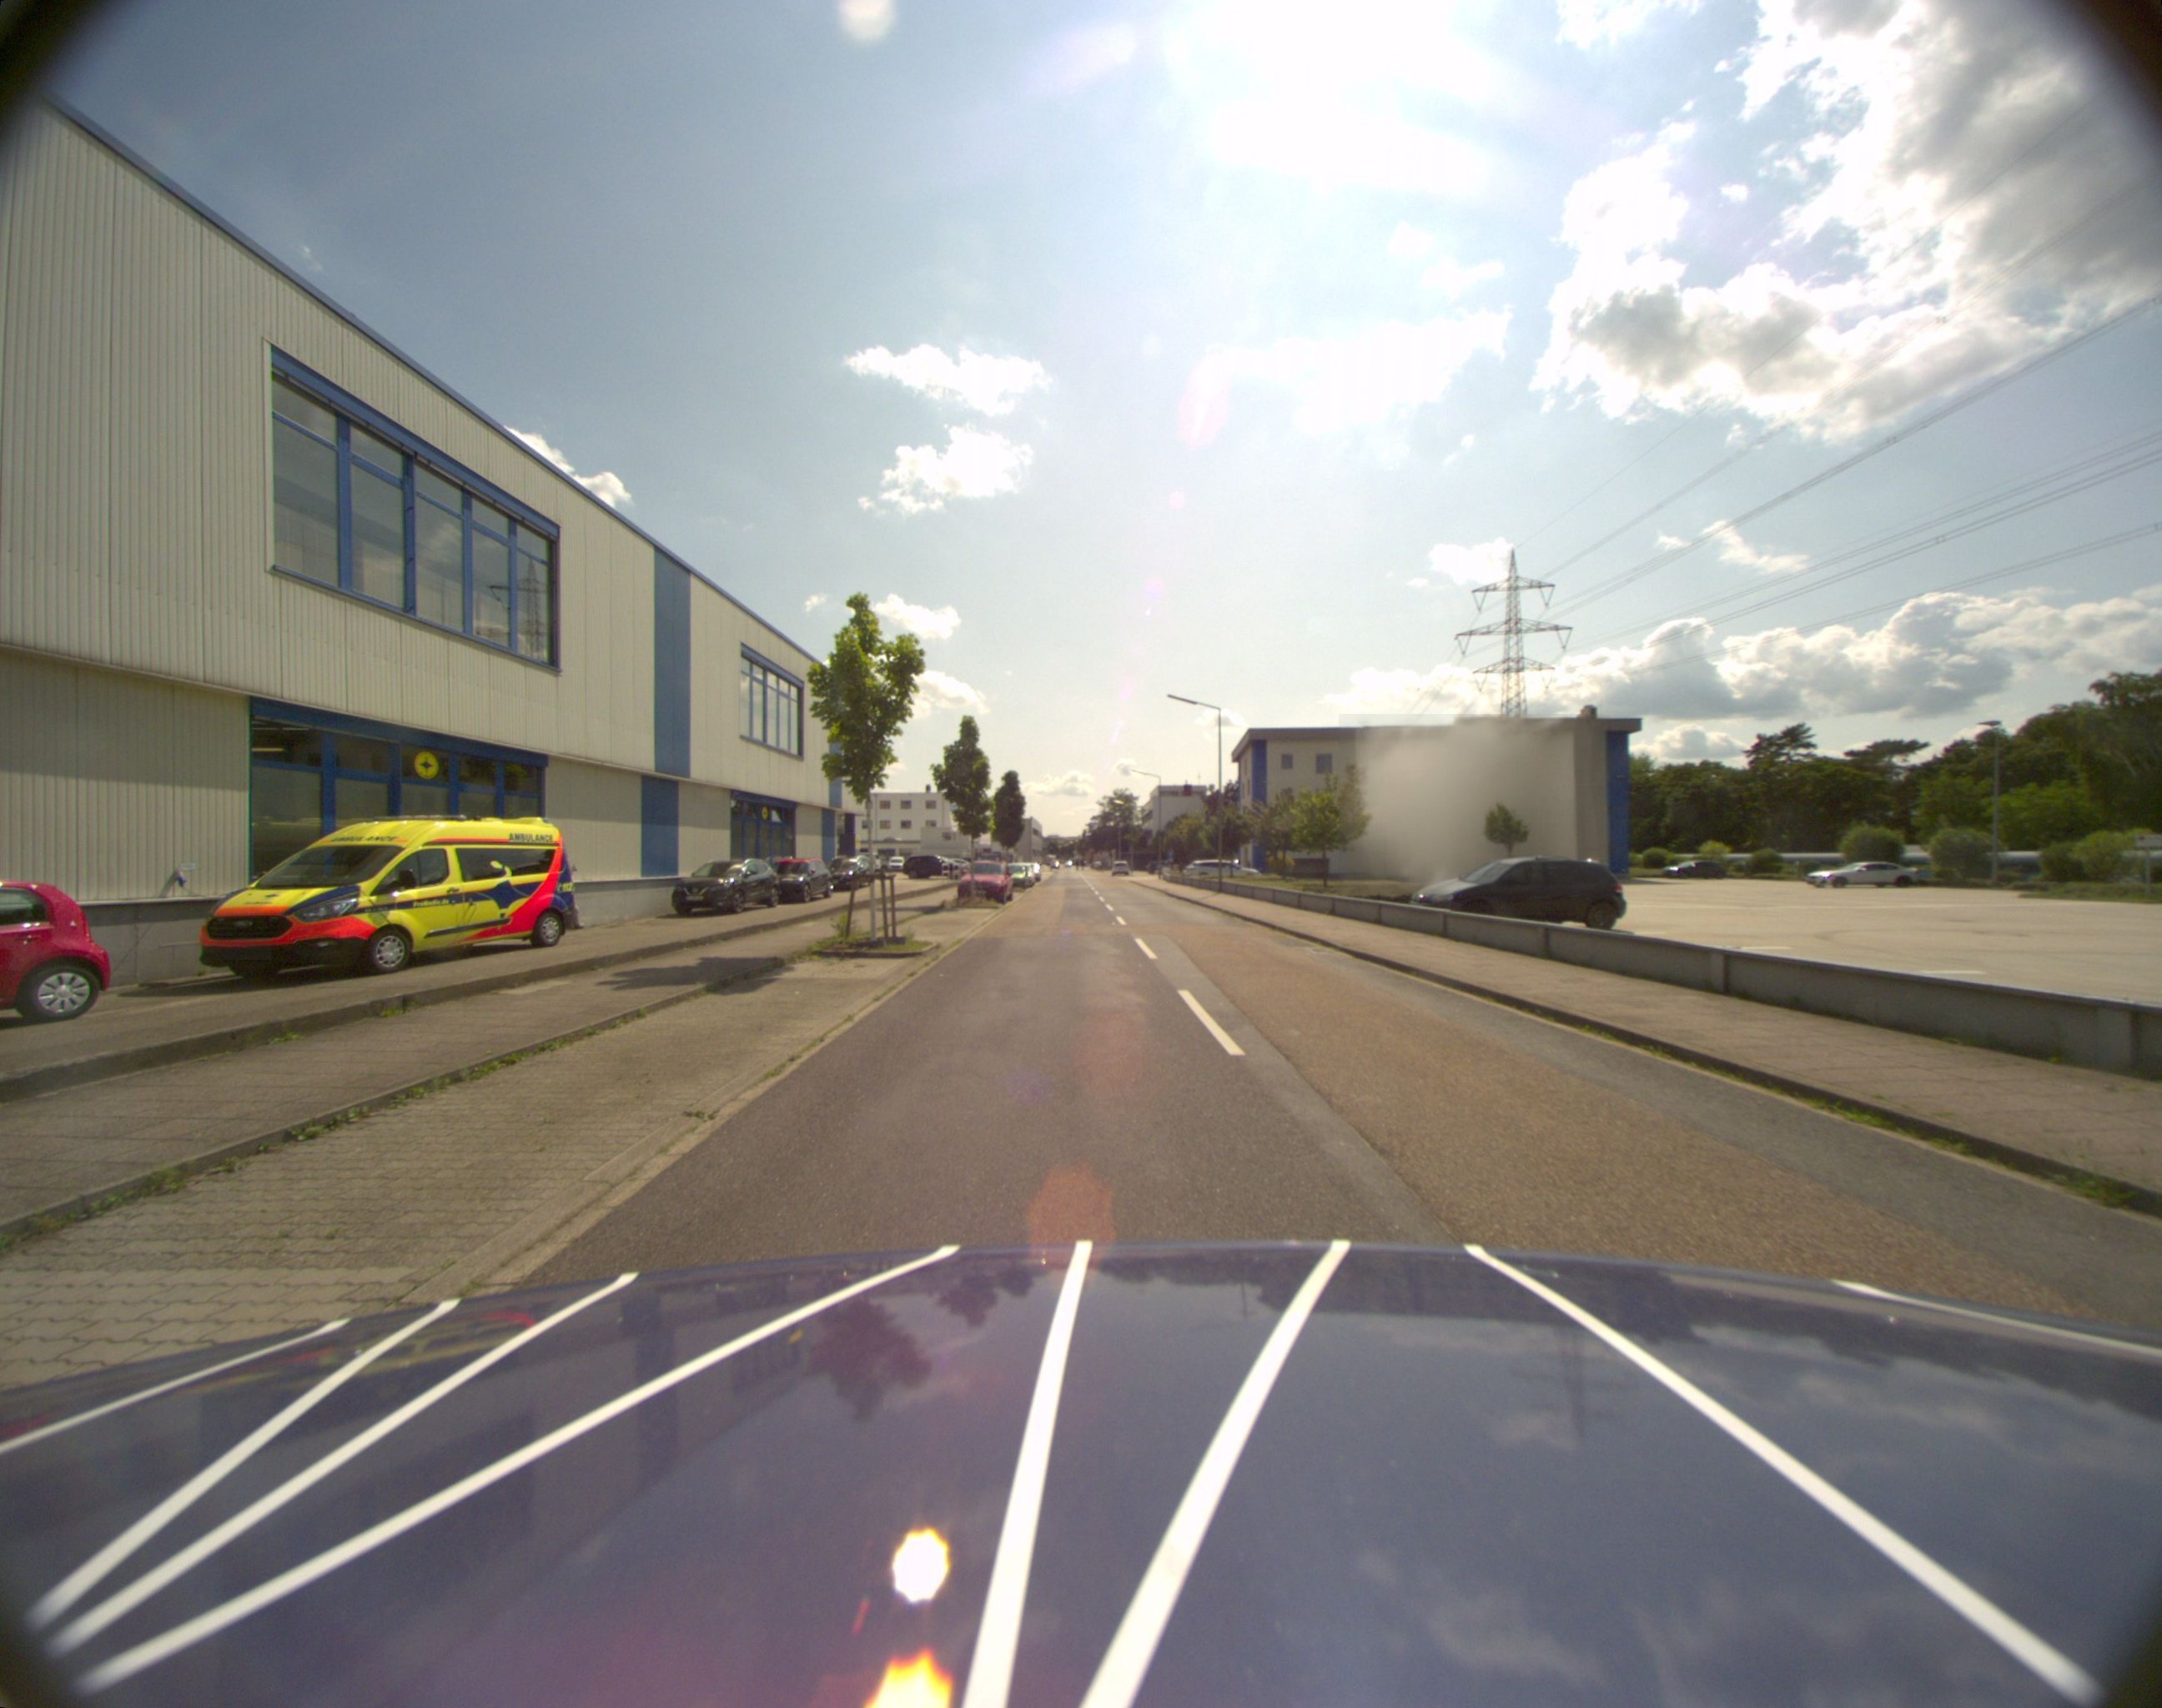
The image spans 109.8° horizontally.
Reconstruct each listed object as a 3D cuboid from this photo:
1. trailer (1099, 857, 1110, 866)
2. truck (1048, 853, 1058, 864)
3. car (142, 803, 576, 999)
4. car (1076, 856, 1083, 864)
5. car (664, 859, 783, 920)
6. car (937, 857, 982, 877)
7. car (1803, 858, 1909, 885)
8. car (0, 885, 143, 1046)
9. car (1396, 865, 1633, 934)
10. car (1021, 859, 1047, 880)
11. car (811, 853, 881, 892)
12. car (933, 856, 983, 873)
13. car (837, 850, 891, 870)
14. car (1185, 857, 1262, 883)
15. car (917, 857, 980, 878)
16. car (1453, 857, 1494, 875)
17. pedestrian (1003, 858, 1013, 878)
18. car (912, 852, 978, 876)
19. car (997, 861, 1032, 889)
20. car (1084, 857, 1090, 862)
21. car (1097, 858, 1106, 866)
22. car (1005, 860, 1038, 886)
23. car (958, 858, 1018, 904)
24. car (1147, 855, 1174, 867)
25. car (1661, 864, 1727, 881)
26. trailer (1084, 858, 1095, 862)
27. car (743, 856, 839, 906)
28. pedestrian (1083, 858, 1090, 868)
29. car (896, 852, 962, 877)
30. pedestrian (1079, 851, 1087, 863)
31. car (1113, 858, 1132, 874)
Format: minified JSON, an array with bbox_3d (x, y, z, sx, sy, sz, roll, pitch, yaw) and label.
[{"bbox_3d":[4.372,1.428,143.459,1.771,1.430,4.335,-3,0,-1],"label":"trailer"},{"bbox_3d":[-8.174,1.246,221.428,2.607,3.207,8.076,-3,0,-1],"label":"truck"},{"bbox_3d":[-10.835,0.585,12.201,1.929,2.449,5.259,-1,0,0],"label":"car"},{"bbox_3d":[-0.519,1.873,252.901,2.079,2.527,5.822,-3,0,-3],"label":"car"},{"bbox_3d":[-10.894,1.018,23.502,1.719,1.642,4.214,0,1,0],"label":"car"},{"bbox_3d":[-10.888,1.145,68.330,3.816,1.670,1.791,-1,0,-1],"label":"car"},{"bbox_3d":[43.447,0.970,42.682,3.819,1.465,1.805,0,0,13],"label":"car"},{"bbox_3d":[-11.069,1.095,6.404,1.577,1.482,3.816,-1,0,0],"label":"car"},{"bbox_3d":[9.070,0.932,16.137,3.997,1.368,1.803,0,0,0],"label":"car"},{"bbox_3d":[-3.766,1.233,61.650,1.872,1.511,4.597,-1,0,-1],"label":"car"},{"bbox_3d":[-10.789,0.794,35.269,1.832,1.504,4.638,0,2,0],"label":"car"},{"bbox_3d":[-10.670,0.937,65.905,3.997,1.411,2.000,1,0,0],"label":"car"},{"bbox_3d":[-21.814,0.617,76.442,4.690,1.925,2.276,0,0,1],"label":"car"},{"bbox_3d":[9.369,1.033,50.250,4.767,1.593,2.000,-1,0,0],"label":"car"},{"bbox_3d":[-9.708,0.972,55.819,4.290,1.411,2.000,1,0,0],"label":"car"},{"bbox_3d":[31.290,0.923,60.686,1.566,1.368,3.681,0,0,4],"label":"car"},{"bbox_3d":[-6.451,1.238,67.560,0.771,1.746,0.787,2,1,-1],"label":"pedestrian"},{"bbox_3d":[-9.484,0.714,53.180,4.237,1.637,2.147,0,0,-2],"label":"car"},{"bbox_3d":[-3.772,1.164,43.547,1.673,1.511,3.994,-1,0,-1],"label":"car"},{"bbox_3d":[1.754,1.620,220.743,1.715,1.459,4.628,-3,0,-2],"label":"car"},{"bbox_3d":[4.244,1.636,160.010,1.677,1.447,4.513,-2,0,-1],"label":"car"},{"bbox_3d":[-3.796,1.180,49.054,1.840,1.511,4.460,-1,0,-1],"label":"car"},{"bbox_3d":[-3.614,1.017,30.264,1.759,1.641,4.677,-1,0,1],"label":"car"},{"bbox_3d":[11.328,0.991,108.711,3.657,1.698,1.878,0,0,-1],"label":"car"},{"bbox_3d":[47.948,1.432,59.513,3.604,1.244,1.805,0,0,8],"label":"car"},{"bbox_3d":[2.251,1.576,202.774,2.457,1.157,6.051,-2,0,-2],"label":"trailer"},{"bbox_3d":[-10.838,0.965,28.776,1.999,1.648,4.289,0,1,0],"label":"car"},{"bbox_3d":[1.036,1.622,134.122,0.860,1.797,1.003,1,0,-23],"label":"pedestrian"},{"bbox_3d":[-10.103,0.685,50.761,4.095,1.676,2.000,0,0,-2],"label":"car"},{"bbox_3d":[0.305,0.517,133.121,0.994,1.940,1.089,1,0,-23],"label":"pedestrian"},{"bbox_3d":[4.816,1.388,88.388,1.872,1.698,4.752,-1,0,-1],"label":"car"}]
